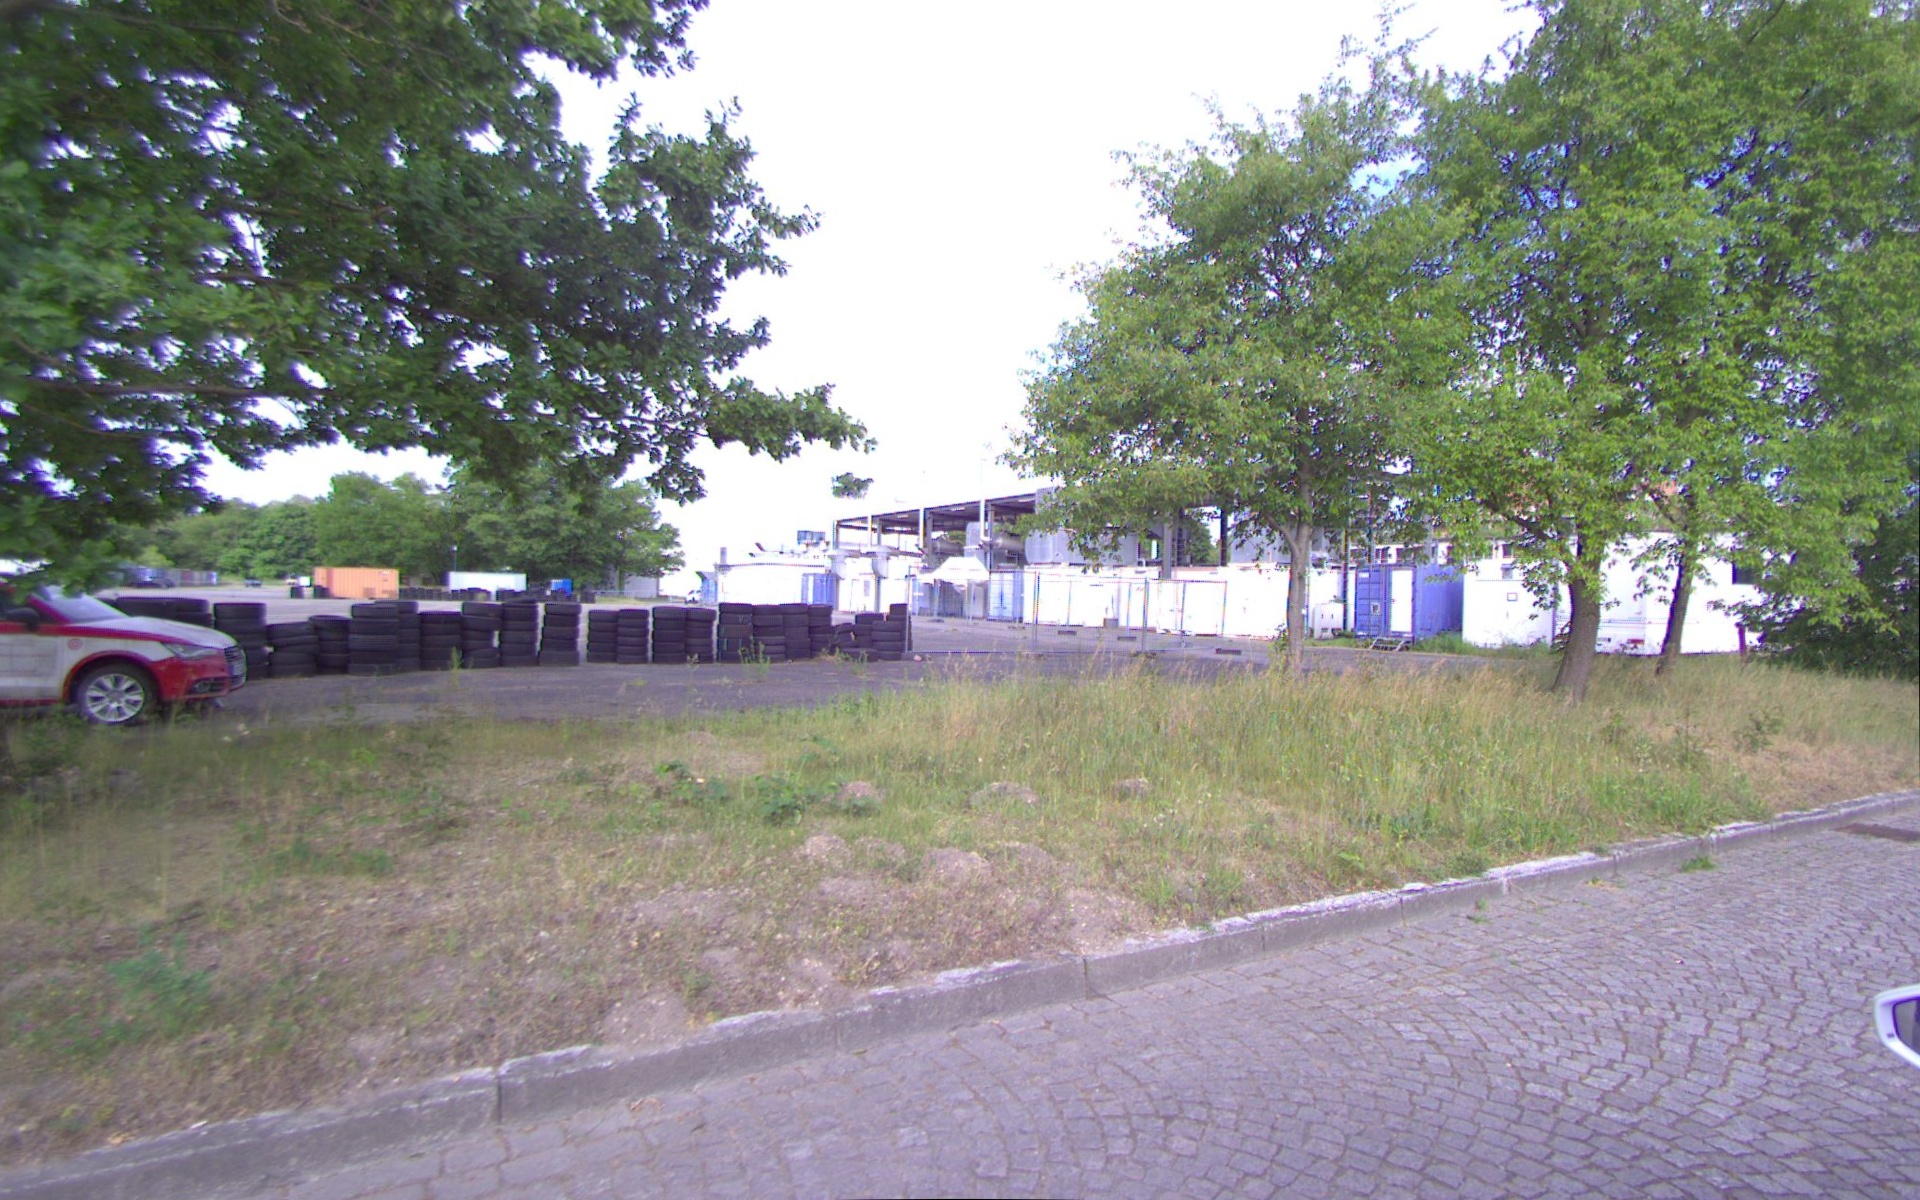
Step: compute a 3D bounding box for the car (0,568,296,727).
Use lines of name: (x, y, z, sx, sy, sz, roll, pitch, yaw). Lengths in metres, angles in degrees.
car: (-9.233, 0.421, 9.952, 4.161, 1.451, 1.818, 1, 0, -25)

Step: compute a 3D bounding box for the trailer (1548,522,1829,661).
trailer: (22.554, -0.137, 30.826, 10.588, 3.755, 2.645, 1, 0, -29)
